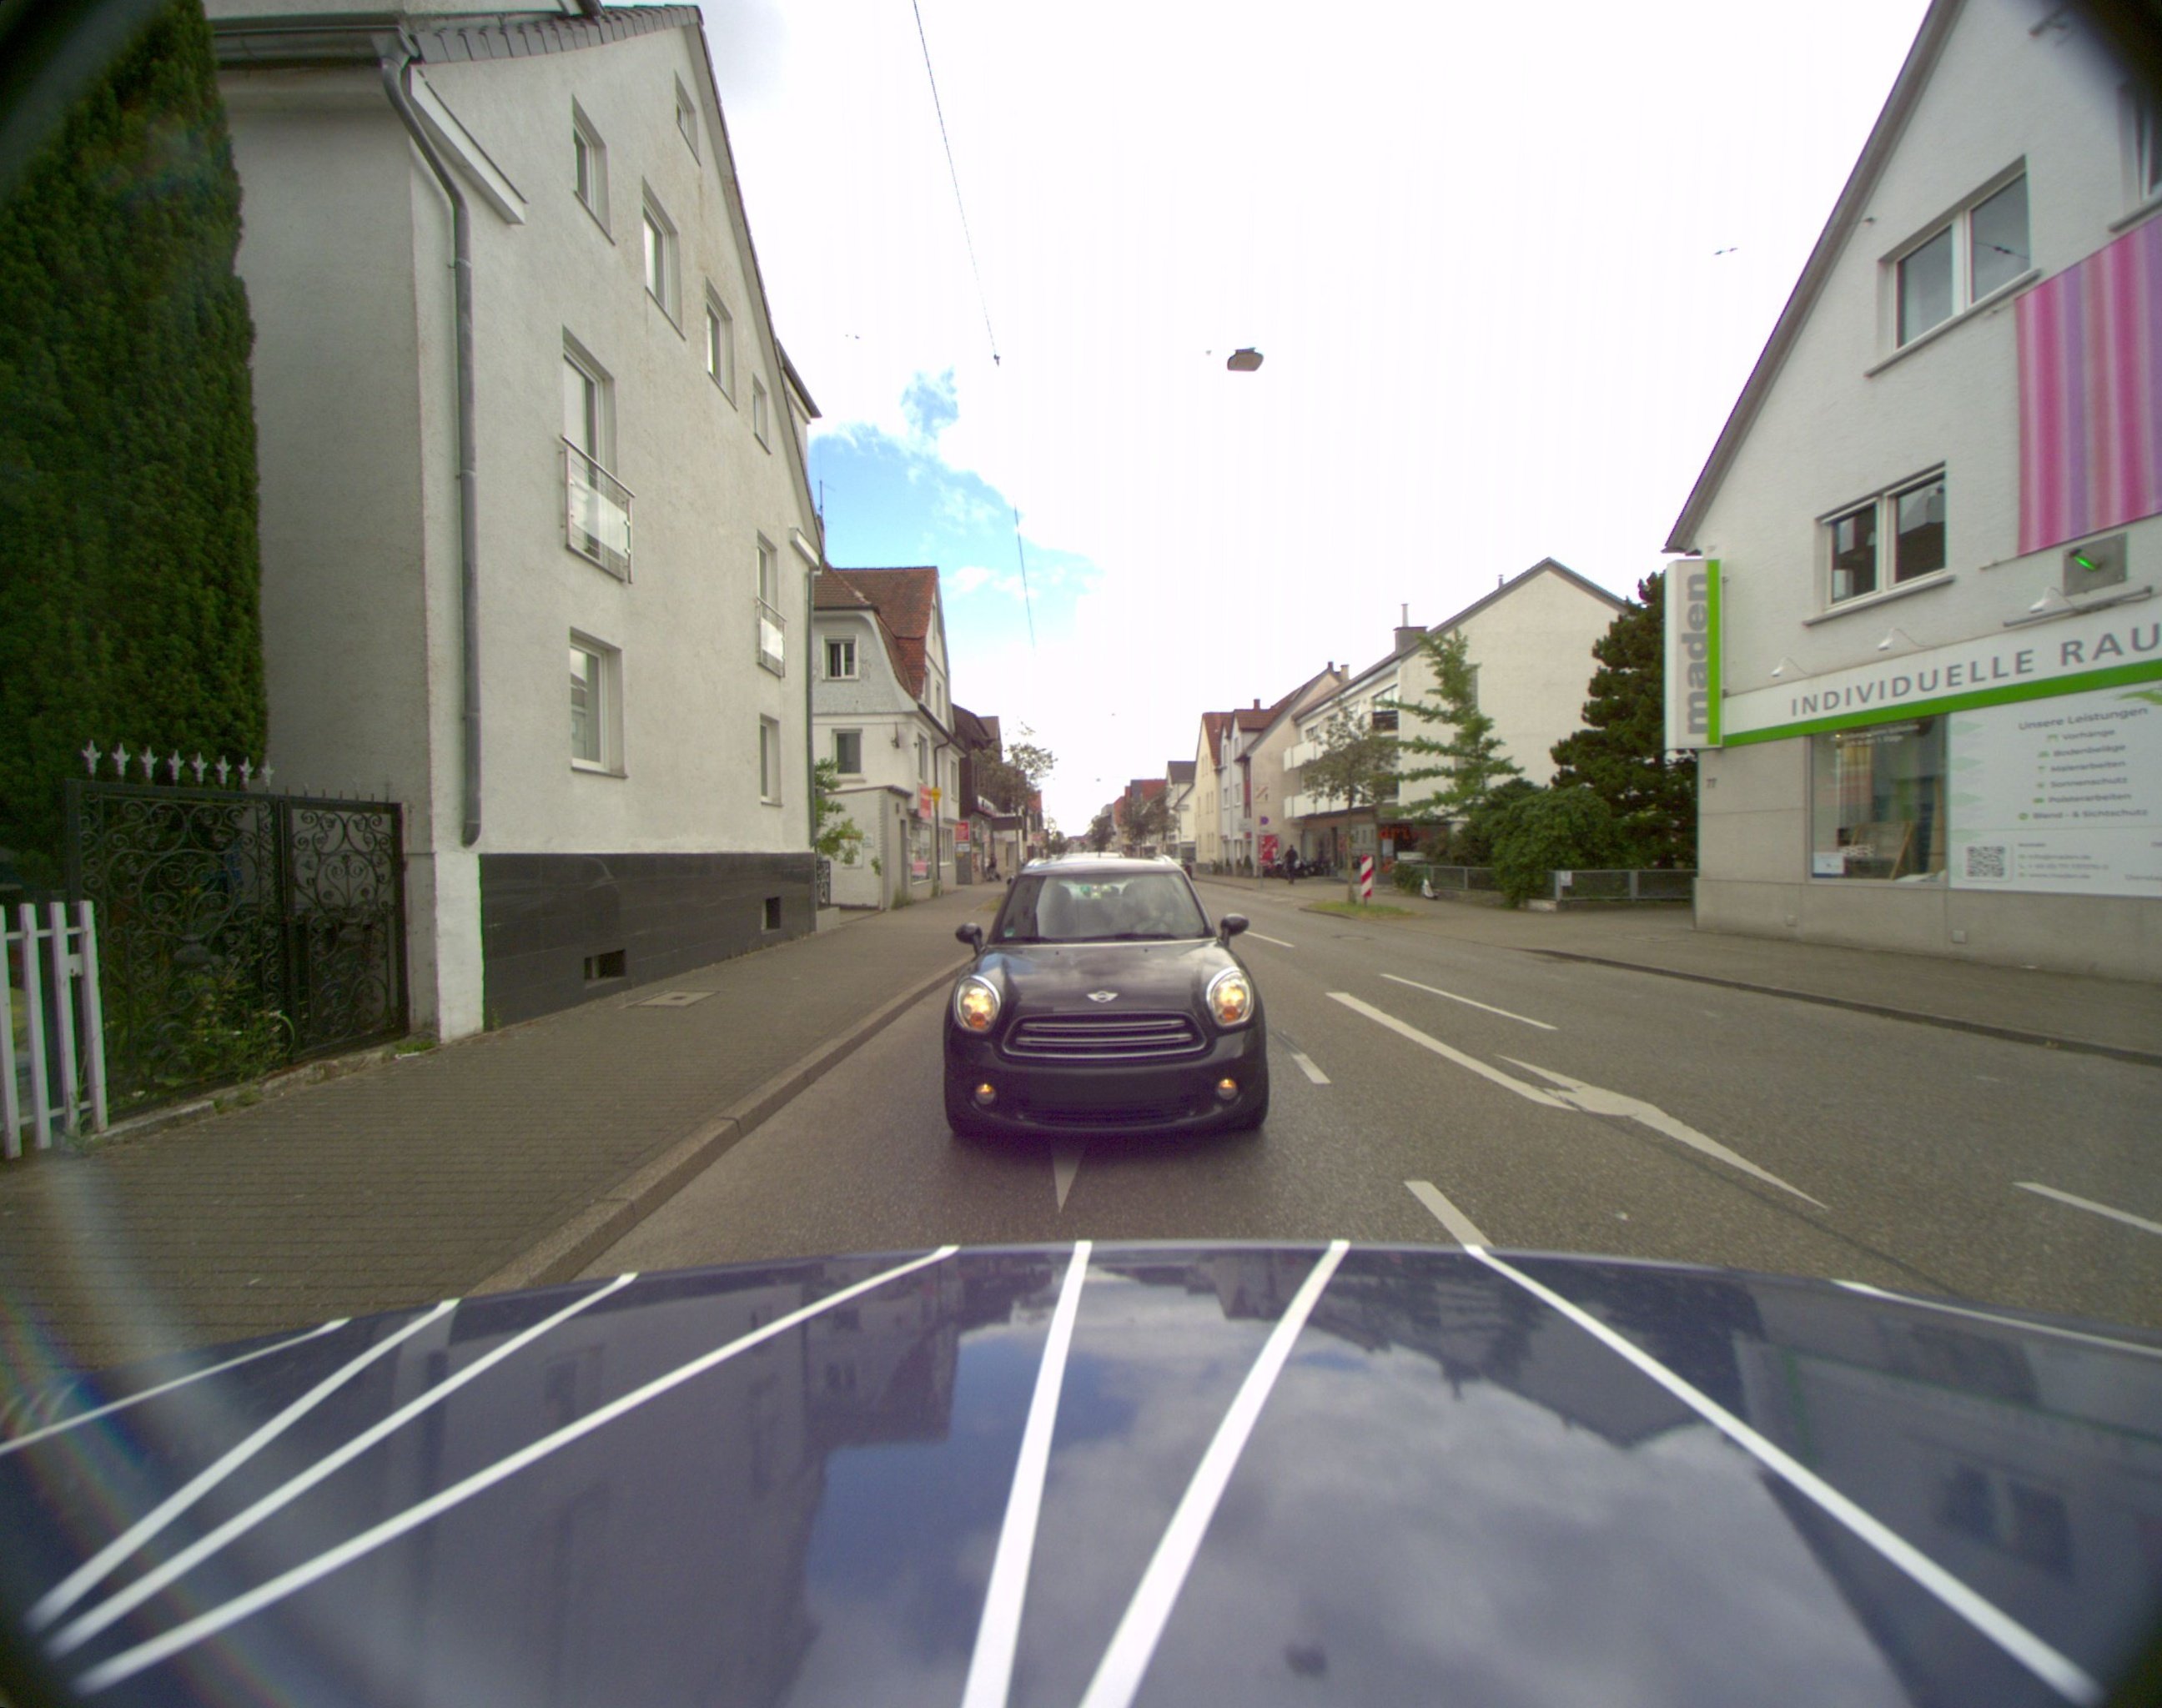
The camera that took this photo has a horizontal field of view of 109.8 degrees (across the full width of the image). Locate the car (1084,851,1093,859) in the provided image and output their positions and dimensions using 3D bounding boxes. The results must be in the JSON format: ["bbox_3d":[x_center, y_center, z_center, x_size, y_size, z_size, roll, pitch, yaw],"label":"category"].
[{"bbox_3d":[1.809,0.228,177.730,1.855,1.932,4.490,0,0,-2],"label":"car"}]

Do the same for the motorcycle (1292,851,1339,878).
[{"bbox_3d":[12.317,0.543,39.975,2.231,1.258,0.613,-4,1,-2],"label":"motorcycle"}]

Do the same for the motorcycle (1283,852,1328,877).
[{"bbox_3d":[12.312,0.575,41.689,2.231,1.258,0.613,-4,1,-2],"label":"motorcycle"}]

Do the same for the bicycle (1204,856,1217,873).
[{"bbox_3d":[9.430,0.729,55.460,0.515,1.189,2.023,-2,0,-1],"label":"bicycle"}]

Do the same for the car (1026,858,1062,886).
[{"bbox_3d":[-2.042,0.954,43.061,1.830,1.400,4.564,-2,0,-1],"label":"car"}]

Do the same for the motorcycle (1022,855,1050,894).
[{"bbox_3d":[-1.859,0.832,31.774,0.672,1.516,2.599,-2,0,6],"label":"motorcycle"}]

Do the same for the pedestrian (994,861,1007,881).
[{"bbox_3d":[-4.934,1.051,46.813,0.742,1.204,0.644,0,1,-1],"label":"pedestrian"}]

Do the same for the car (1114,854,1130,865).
[{"bbox_3d":[5.495,0.717,102.136,1.716,1.389,3.899,-2,0,-2],"label":"car"}]

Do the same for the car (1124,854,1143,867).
[{"bbox_3d":[5.993,0.687,86.525,1.716,1.389,3.899,-2,0,-2],"label":"car"}]

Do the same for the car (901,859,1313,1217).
[{"bbox_3d":[0.046,0.860,5.867,1.855,1.527,4.735,-2,0,-2],"label":"car"}]

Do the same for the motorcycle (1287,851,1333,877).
[{"bbox_3d":[12.305,0.538,40.863,2.231,1.258,0.613,-4,1,-2],"label":"motorcycle"}]

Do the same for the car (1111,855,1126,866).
[{"bbox_3d":[5.287,0.890,107.781,1.716,1.389,3.899,-2,0,-2],"label":"car"}]

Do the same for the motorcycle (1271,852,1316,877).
[{"bbox_3d":[11.867,0.586,42.449,2.231,1.258,0.699,-4,1,-2],"label":"motorcycle"}]

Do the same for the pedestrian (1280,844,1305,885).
[{"bbox_3d":[9.875,0.485,35.495,0.753,1.838,1.019,-5,1,0],"label":"pedestrian"}]

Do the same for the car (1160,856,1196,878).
[{"bbox_3d":[6.459,0.844,51.016,1.792,1.409,4.340,0,0,-1],"label":"car"}]

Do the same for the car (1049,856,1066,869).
[{"bbox_3d":[-2.599,0.928,85.506,1.794,1.356,3.948,0,0,0],"label":"car"}]

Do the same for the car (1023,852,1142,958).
[{"bbox_3d":[0.036,0.805,14.504,1.855,1.615,4.736,-2,0,0],"label":"car"}]

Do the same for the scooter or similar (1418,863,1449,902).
[{"bbox_3d":[10.378,0.820,22.420,0.340,1.105,1.180,-2,1,0],"label":"scooter or similar"}]

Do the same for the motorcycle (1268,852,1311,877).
[{"bbox_3d":[11.879,0.581,43.325,2.231,1.258,0.613,-4,1,-2],"label":"motorcycle"}]

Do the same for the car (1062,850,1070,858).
[{"bbox_3d":[-4.083,0.097,202.028,2.059,2.002,4.186,-2,0,-1],"label":"car"}]

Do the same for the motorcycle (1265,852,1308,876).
[{"bbox_3d":[11.896,0.576,44.042,2.231,1.258,0.613,-4,1,-2],"label":"motorcycle"}]

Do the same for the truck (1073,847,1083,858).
[{"bbox_3d":[-0.863,-0.410,219.270,2.800,3.020,8.250,-2,0,0],"label":"truck"}]

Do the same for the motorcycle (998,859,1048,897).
[{"bbox_3d":[-2.274,0.911,29.365,0.777,1.373,2.237,-2,1,-37],"label":"motorcycle"}]

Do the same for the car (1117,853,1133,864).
[{"bbox_3d":[5.601,0.543,97.145,1.716,1.389,3.899,-2,0,-2],"label":"car"}]

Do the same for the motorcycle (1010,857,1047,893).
[{"bbox_3d":[-2.240,0.880,32.915,0.648,1.432,2.472,-2,1,19],"label":"motorcycle"}]

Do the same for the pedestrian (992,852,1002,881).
[{"bbox_3d":[-5.086,0.769,46.004,0.644,1.730,0.742,0,1,-6],"label":"pedestrian"}]
